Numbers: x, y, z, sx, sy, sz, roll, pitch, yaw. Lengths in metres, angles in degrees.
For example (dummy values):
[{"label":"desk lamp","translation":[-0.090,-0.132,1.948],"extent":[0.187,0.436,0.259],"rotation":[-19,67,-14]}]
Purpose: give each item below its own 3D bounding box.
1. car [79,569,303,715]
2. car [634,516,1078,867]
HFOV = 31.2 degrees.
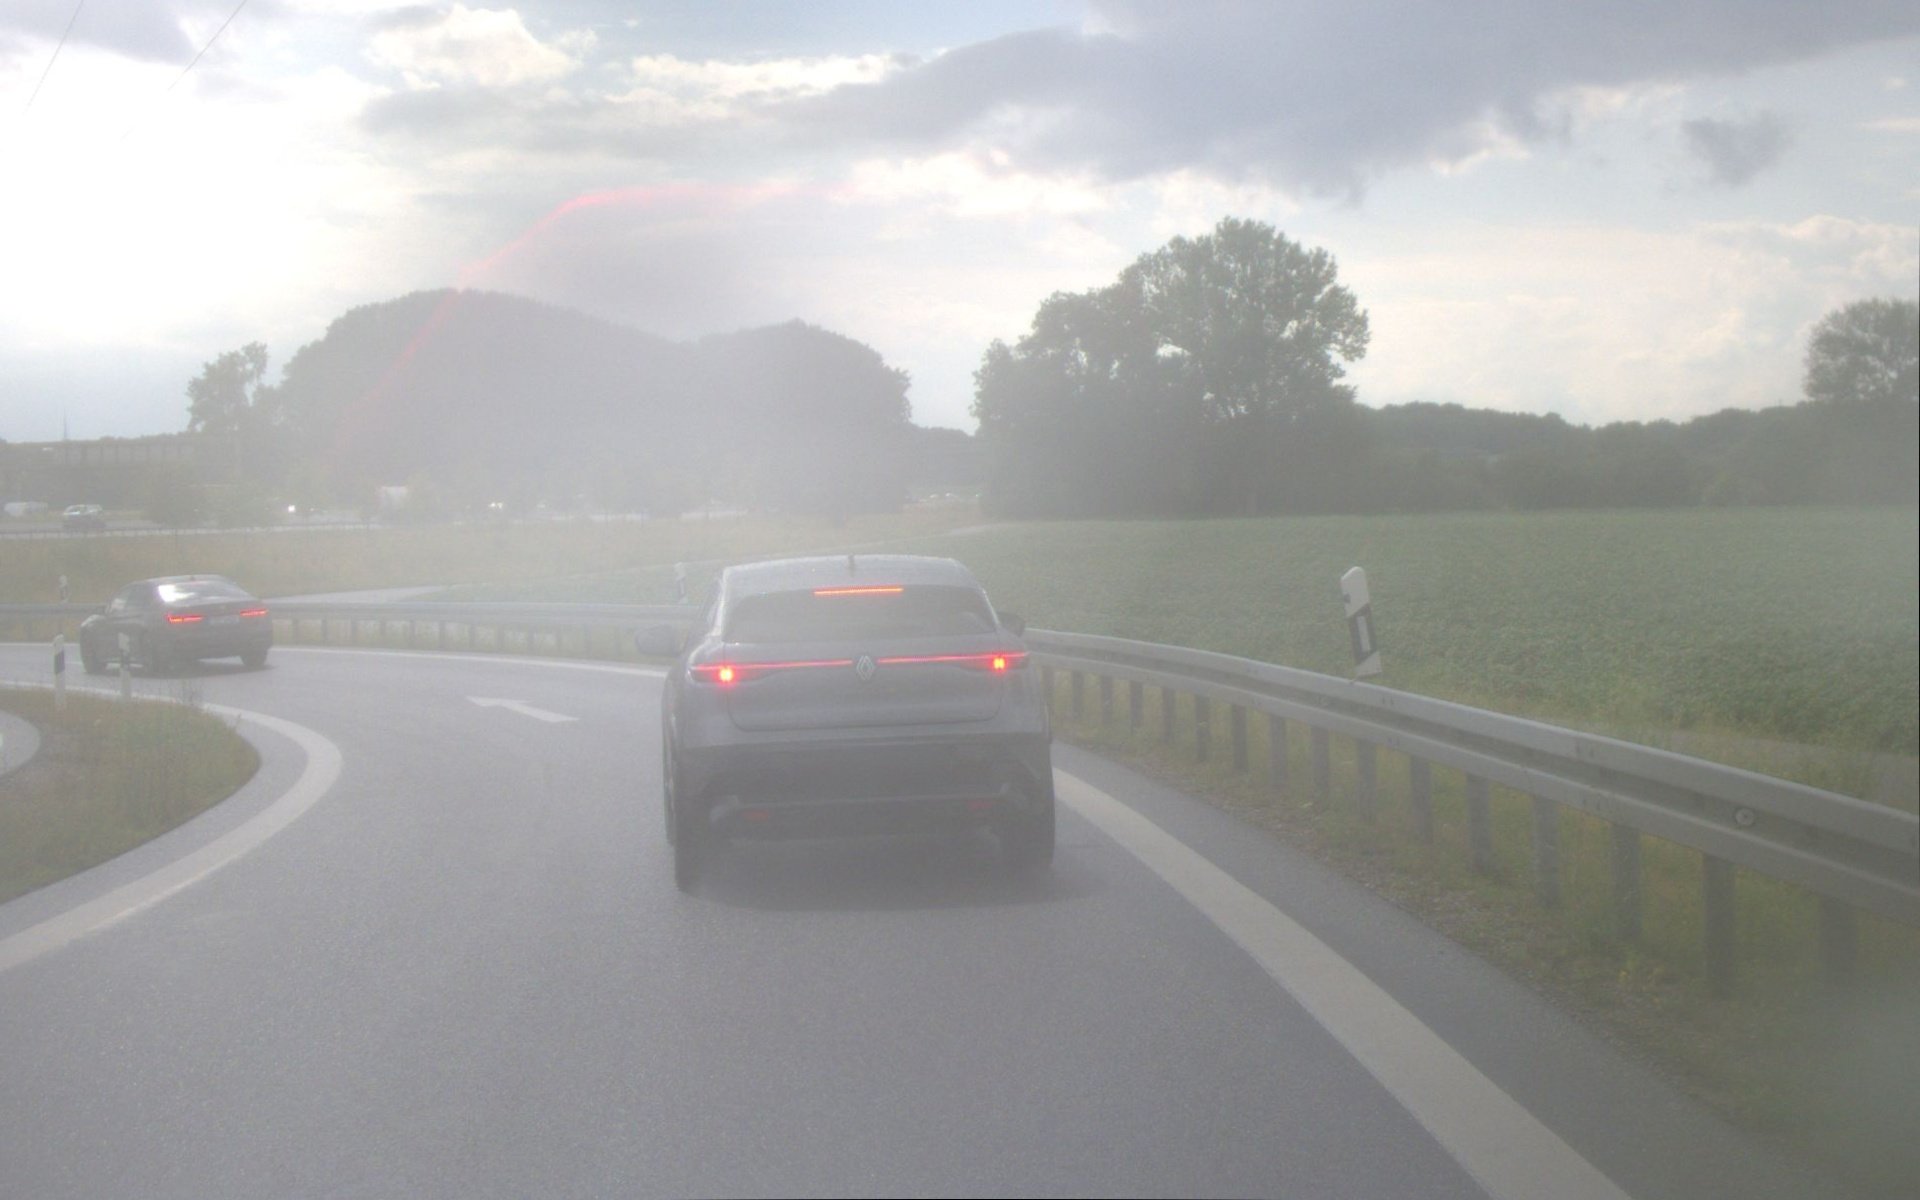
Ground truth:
[{"label":"car","translation":[-12.568,0.625,55.917],"extent":[2.121,2.011,5.535],"rotation":[-2,3,-28]},{"label":"car","translation":[-0.599,0.366,17.585],"extent":[1.993,1.561,4.150],"rotation":[0,2,-4]}]
